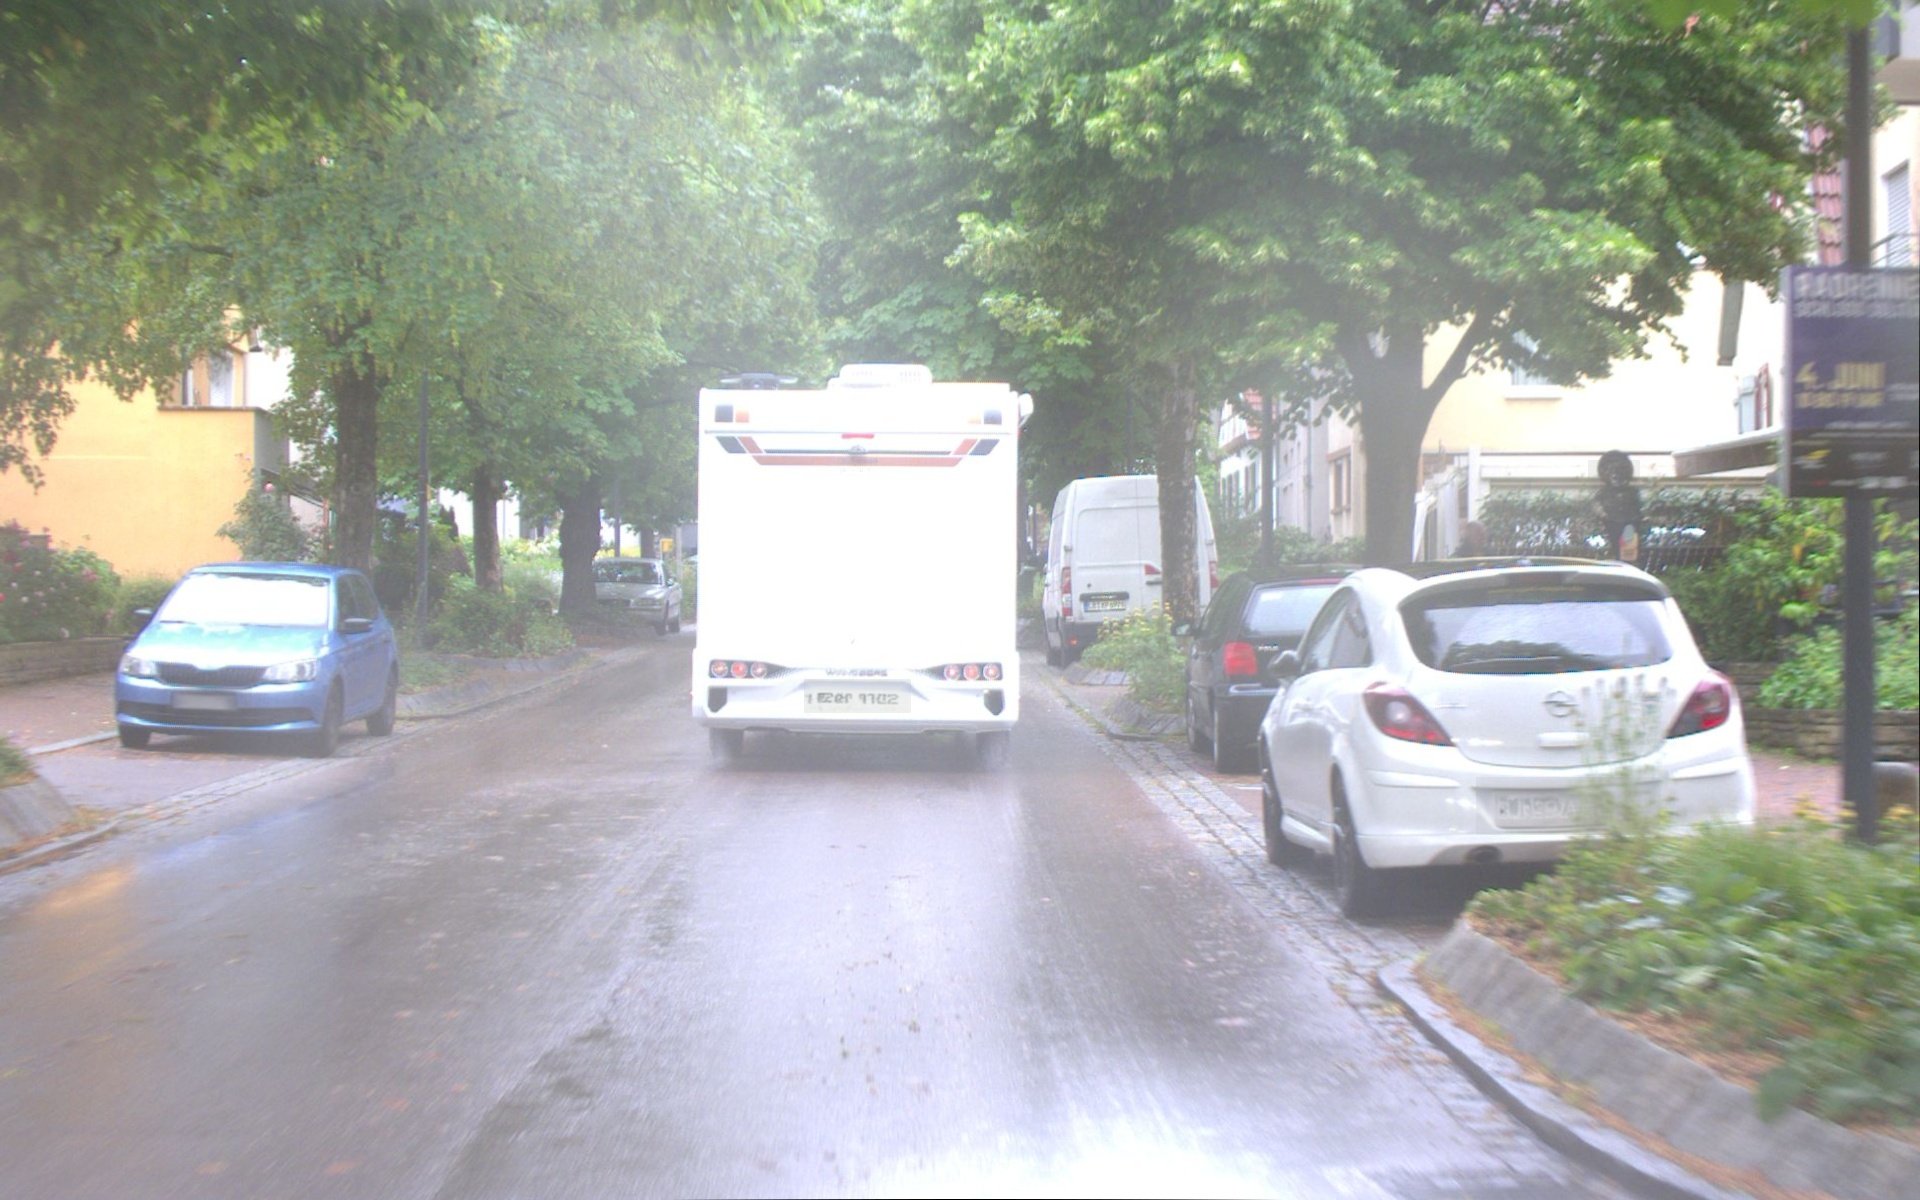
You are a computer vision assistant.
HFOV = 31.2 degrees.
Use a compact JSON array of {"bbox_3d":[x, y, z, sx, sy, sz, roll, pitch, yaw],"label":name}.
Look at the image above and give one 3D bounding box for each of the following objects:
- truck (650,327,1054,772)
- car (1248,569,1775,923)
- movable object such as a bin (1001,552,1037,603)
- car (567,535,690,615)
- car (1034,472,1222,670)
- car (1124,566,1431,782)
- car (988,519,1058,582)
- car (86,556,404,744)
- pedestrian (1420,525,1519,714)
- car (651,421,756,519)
[{"bbox_3d":[-0.759,-0.376,26.378,2.694,2.975,6.237,1,1,-1],"label":"truck"},{"bbox_3d":[2.355,0.561,15.575,1.680,1.395,3.795,0,1,-2],"label":"car"},{"bbox_3d":[1.246,-0.476,72.371,0.688,1.079,0.541,1,0,-4],"label":"movable object such as a bin"},{"bbox_3d":[-6.170,-0.488,64.385,1.772,1.384,4.545,2,1,1],"label":"car"},{"bbox_3d":[2.159,-0.389,45.637,2.141,2.451,5.435,1,1,-1],"label":"car"},{"bbox_3d":[2.226,0.479,24.999,1.808,1.406,3.784,1,1,-1],"label":"car"},{"bbox_3d":[1.854,-1.495,102.400,1.914,1.786,4.489,1,2,-1],"label":"car"},{"bbox_3d":[-5.670,0.356,27.682,1.749,1.391,3.796,1,1,0],"label":"car"},{"bbox_3d":[4.688,0.172,31.668,0.766,1.725,0.492,0,1,-12],"label":"pedestrian"},{"bbox_3d":[-5.565,-2.798,74.898,1.993,2.007,4.000,1,1,0],"label":"car"}]
